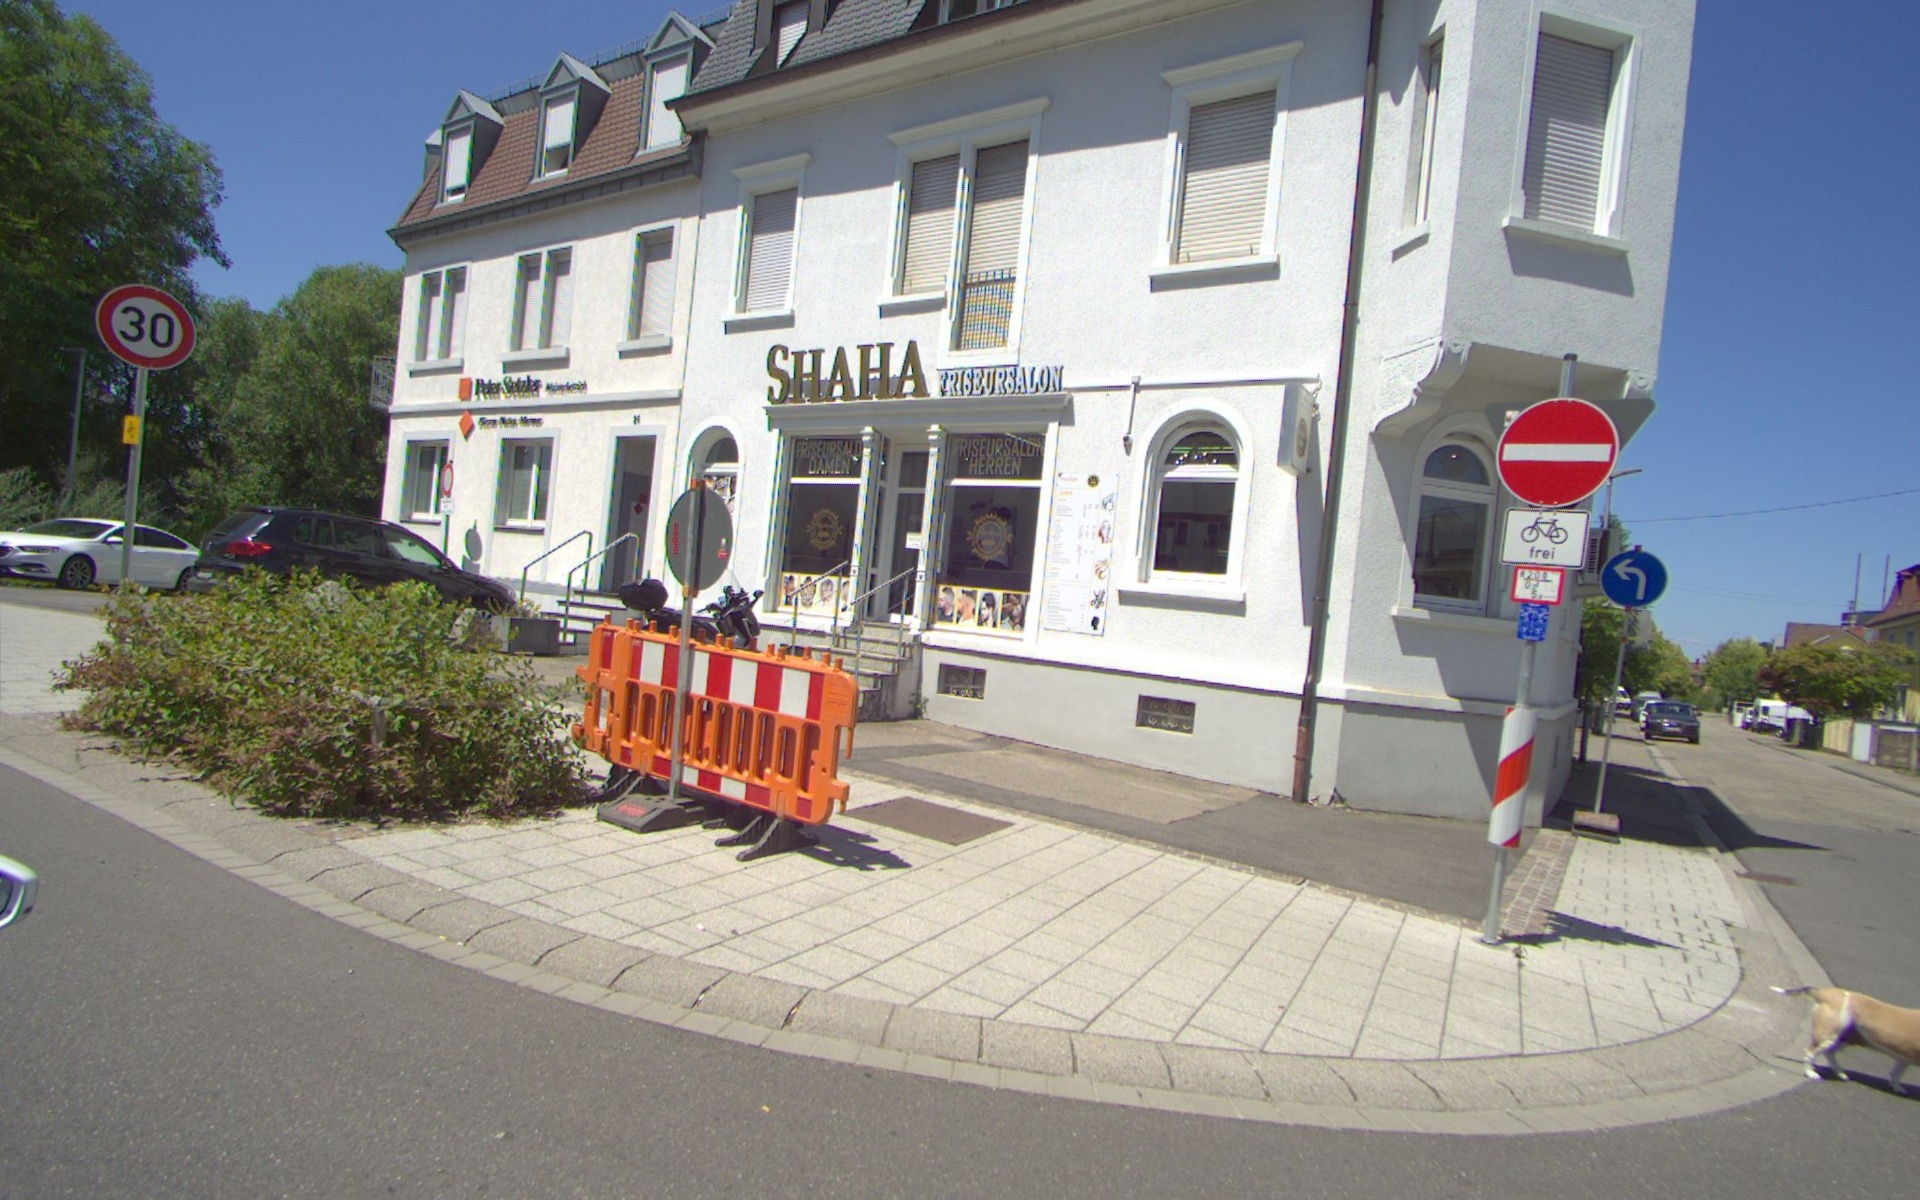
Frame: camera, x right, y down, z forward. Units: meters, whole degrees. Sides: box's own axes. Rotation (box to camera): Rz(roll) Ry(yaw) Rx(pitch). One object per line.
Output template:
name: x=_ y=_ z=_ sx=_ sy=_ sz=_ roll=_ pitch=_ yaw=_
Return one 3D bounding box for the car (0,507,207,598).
car: x=-17.282 y=-0.906 z=19.738 sx=1.826 sy=1.365 sz=4.205 roll=7 pitch=-2 yaw=-2

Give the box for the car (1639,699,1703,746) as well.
car: x=30.224 y=5.178 z=42.802 sx=1.969 sy=1.637 sz=3.988 roll=6 pitch=-1 yaw=36

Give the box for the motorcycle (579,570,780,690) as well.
motorcycle: x=-3.516 y=0.430 z=12.876 sx=0.842 sy=1.290 sz=2.379 roll=7 pitch=-1 yaw=34

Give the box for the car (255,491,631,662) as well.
car: x=-6.846 y=-0.221 z=13.760 sx=1.826 sy=1.735 sz=4.081 roll=6 pitch=-3 yaw=33

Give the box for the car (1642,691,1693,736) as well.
car: x=38.053 y=6.092 z=54.057 sx=1.969 sy=2.038 sz=3.987 roll=7 pitch=-1 yaw=36

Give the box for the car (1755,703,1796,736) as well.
car: x=59.557 y=8.692 z=73.512 sx=1.969 sy=2.038 sz=3.987 roll=7 pitch=-1 yaw=36

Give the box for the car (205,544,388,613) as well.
car: x=-17.206 y=-0.493 z=26.365 sx=1.825 sy=1.366 sz=4.206 roll=5 pitch=-2 yaw=2

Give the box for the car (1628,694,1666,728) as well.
car: x=48.785 y=7.878 z=71.415 sx=1.969 sy=2.038 sz=3.987 roll=7 pitch=-1 yaw=36

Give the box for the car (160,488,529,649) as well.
car: x=-8.765 y=-0.367 z=14.685 sx=1.826 sy=1.735 sz=4.081 roll=6 pitch=-3 yaw=33

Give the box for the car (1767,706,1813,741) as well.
car: x=55.927 y=8.302 z=67.827 sx=1.969 sy=2.038 sz=3.987 roll=7 pitch=-1 yaw=36
